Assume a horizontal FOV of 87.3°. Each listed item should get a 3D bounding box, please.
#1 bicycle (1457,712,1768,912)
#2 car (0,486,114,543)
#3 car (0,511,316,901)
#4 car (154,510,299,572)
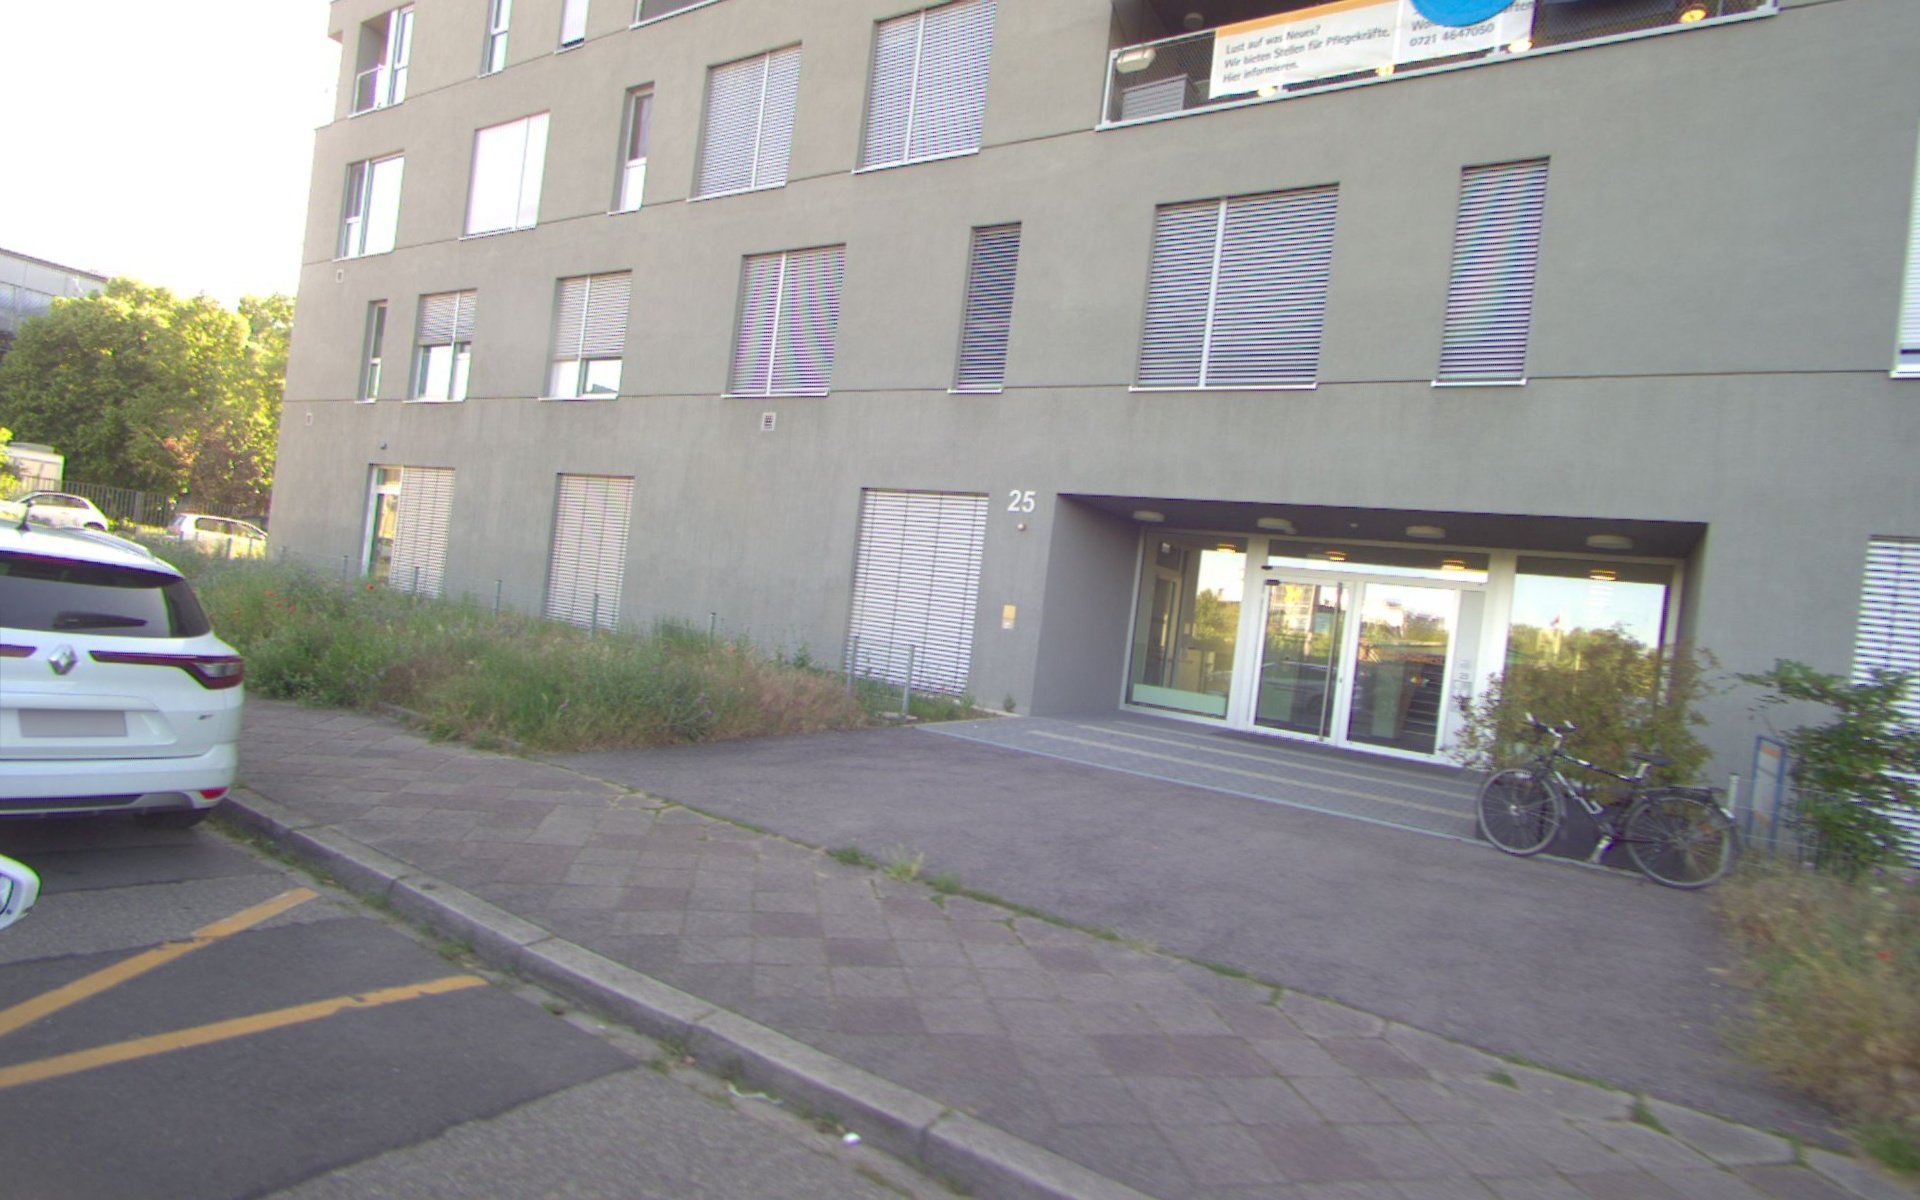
[{"bbox_3d":[4.861,1.528,7.599,1.814,1.074,0.552,7,-1,37],"label":"bicycle"},{"bbox_3d":[-31.666,-2.977,34.580,1.574,1.504,3.550,7,-1,33],"label":"car"},{"bbox_3d":[-5.398,0.218,5.142,4.511,1.445,1.748,7,-2,33],"label":"car"},{"bbox_3d":[-23.467,-1.865,32.264,1.689,1.476,3.326,7,-1,37],"label":"car"}]
